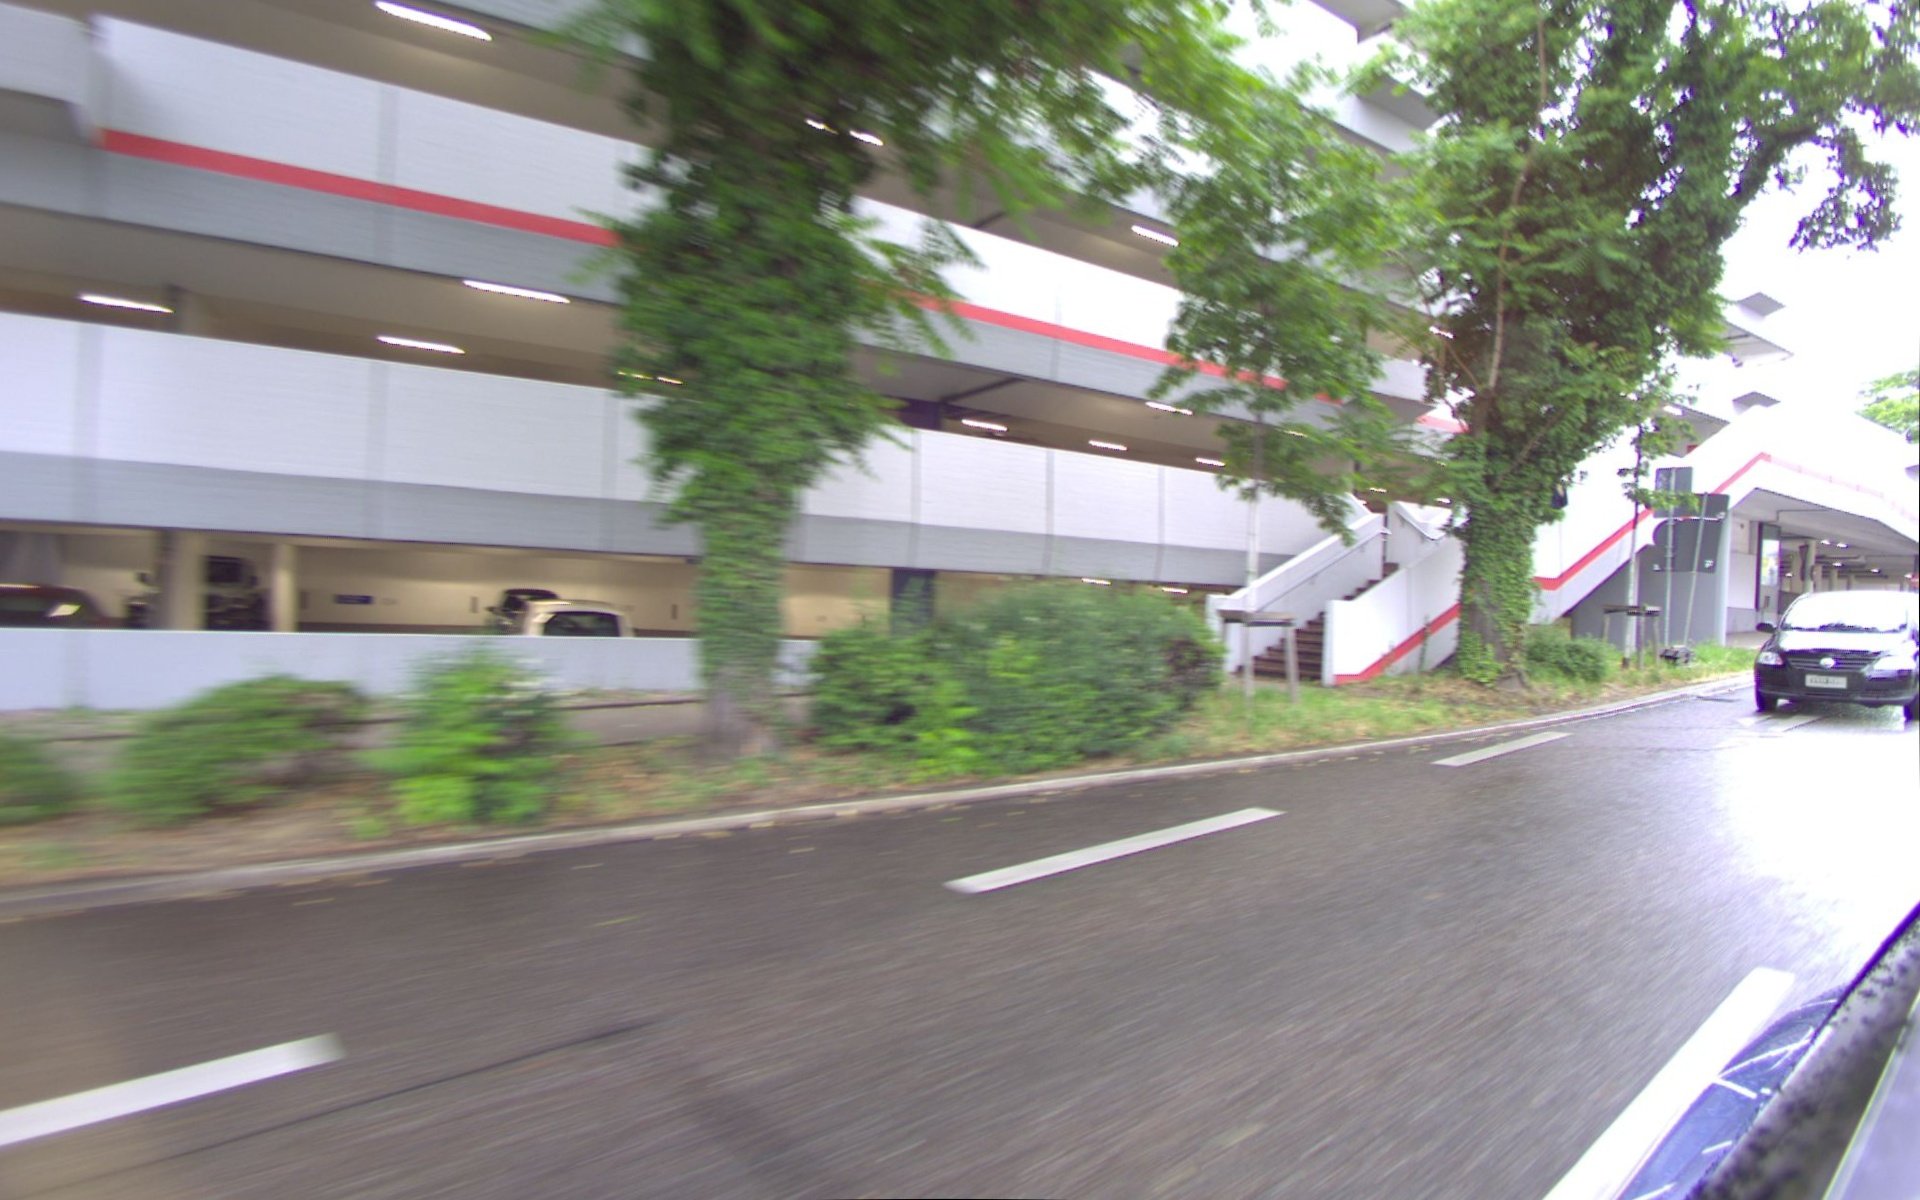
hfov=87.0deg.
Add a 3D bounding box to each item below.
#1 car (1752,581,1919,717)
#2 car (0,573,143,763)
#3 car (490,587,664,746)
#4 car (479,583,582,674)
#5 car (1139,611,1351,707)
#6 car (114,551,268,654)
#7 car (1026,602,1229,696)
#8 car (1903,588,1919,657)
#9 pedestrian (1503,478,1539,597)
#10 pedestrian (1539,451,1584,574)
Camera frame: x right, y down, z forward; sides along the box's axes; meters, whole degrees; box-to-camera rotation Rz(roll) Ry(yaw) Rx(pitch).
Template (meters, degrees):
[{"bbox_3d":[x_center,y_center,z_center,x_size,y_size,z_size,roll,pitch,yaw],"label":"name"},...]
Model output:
[{"bbox_3d":[11.959,0.562,13.361,3.920,1.544,1.682,0,0,-41],"label":"car"},{"bbox_3d":[-10.551,0.629,11.157,1.779,1.805,3.472,0,1,-28],"label":"car"},{"bbox_3d":[-5.328,0.758,13.838,1.779,1.805,3.472,0,1,-28],"label":"car"},{"bbox_3d":[-9.735,0.548,22.771,1.779,1.805,4.006,0,1,-28],"label":"car"},{"bbox_3d":[5.803,1.119,21.041,1.803,1.644,4.000,0,1,-36],"label":"car"},{"bbox_3d":[-14.940,-0.009,19.883,1.779,1.805,4.006,0,1,-28],"label":"car"},{"bbox_3d":[3.204,0.918,19.926,1.776,1.560,3.745,4,-1,-35],"label":"car"},{"bbox_3d":[23.063,0.473,23.104,3.968,1.470,1.913,-1,1,-42],"label":"car"},{"bbox_3d":[10.480,-1.161,18.915,0.426,2.181,0.422,0,1,-36],"label":"pedestrian"},{"bbox_3d":[10.917,-1.567,18.378,0.484,2.181,0.515,0,1,-36],"label":"pedestrian"}]
